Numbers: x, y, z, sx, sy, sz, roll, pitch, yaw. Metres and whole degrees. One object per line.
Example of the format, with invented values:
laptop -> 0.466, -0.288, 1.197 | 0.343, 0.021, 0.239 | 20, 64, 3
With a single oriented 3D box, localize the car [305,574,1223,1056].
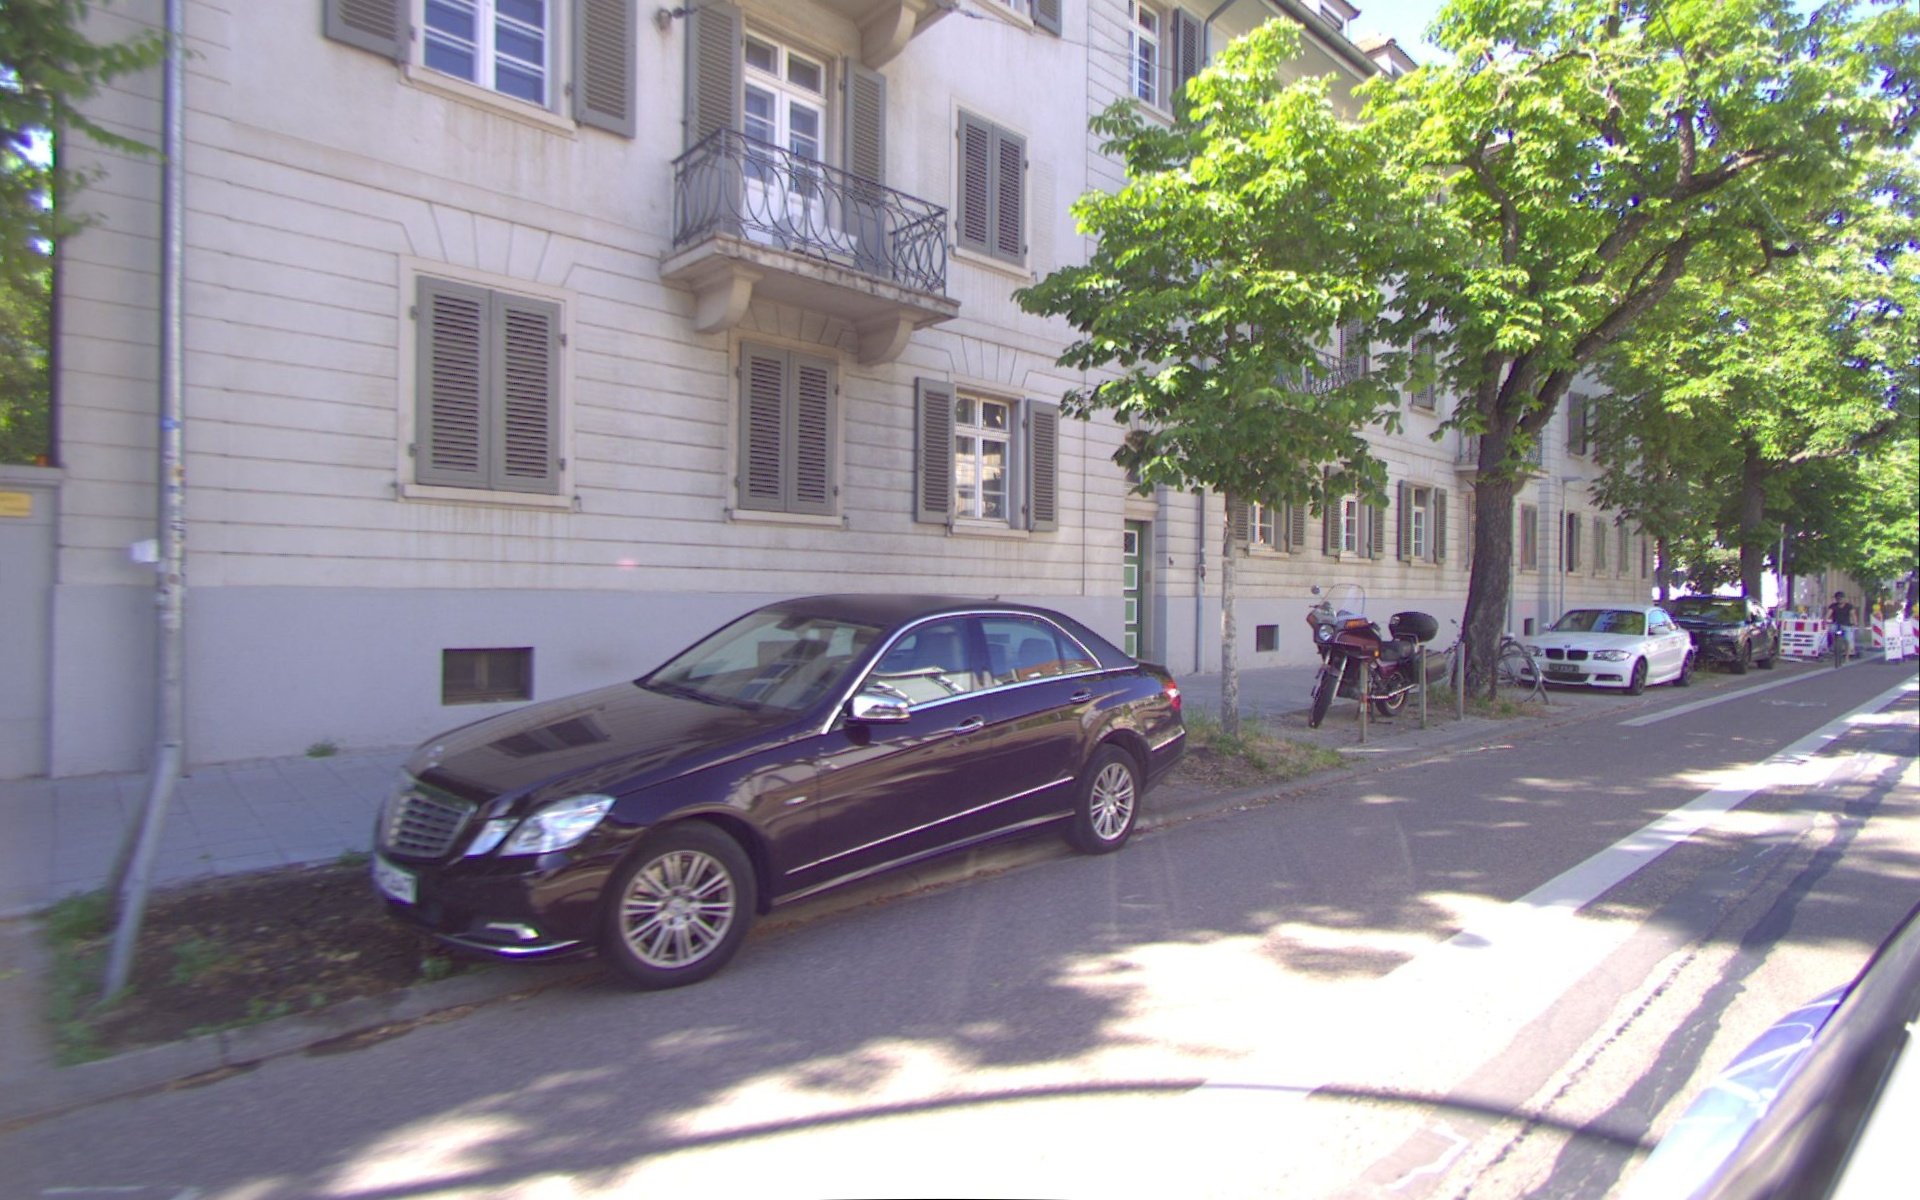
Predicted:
car -> -0.596, 0.661, 5.540 | 1.822, 1.476, 4.741 | 3, 2, 44

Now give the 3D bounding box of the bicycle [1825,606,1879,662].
bicycle -> 21.225, 0.781, 24.071 | 2.060, 1.258, 0.762 | 0, -1, -43

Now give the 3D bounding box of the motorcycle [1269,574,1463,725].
motorcycle -> 4.669, 0.495, 11.515 | 2.632, 1.507, 0.915 | 0, 2, -41

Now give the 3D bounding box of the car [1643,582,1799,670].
car -> 16.682, 0.504, 22.105 | 4.505, 1.646, 1.814 | 0, 3, -42

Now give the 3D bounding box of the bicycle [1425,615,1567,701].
bicycle -> 7.562, 0.787, 14.329 | 0.673, 1.056, 1.623 | 0, 2, -41

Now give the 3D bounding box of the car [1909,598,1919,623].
car -> 59.378, 0.659, 61.799 | 4.141, 1.490, 1.704 | 0, 2, -42

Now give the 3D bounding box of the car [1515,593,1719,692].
car -> 11.141, 0.637, 17.043 | 4.279, 1.399, 1.727 | 0, 2, -41

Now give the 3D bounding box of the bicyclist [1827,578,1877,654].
bicyclist -> 21.240, 0.371, 24.095 | 1.029, 1.761, 0.762 | 0, -1, -43
